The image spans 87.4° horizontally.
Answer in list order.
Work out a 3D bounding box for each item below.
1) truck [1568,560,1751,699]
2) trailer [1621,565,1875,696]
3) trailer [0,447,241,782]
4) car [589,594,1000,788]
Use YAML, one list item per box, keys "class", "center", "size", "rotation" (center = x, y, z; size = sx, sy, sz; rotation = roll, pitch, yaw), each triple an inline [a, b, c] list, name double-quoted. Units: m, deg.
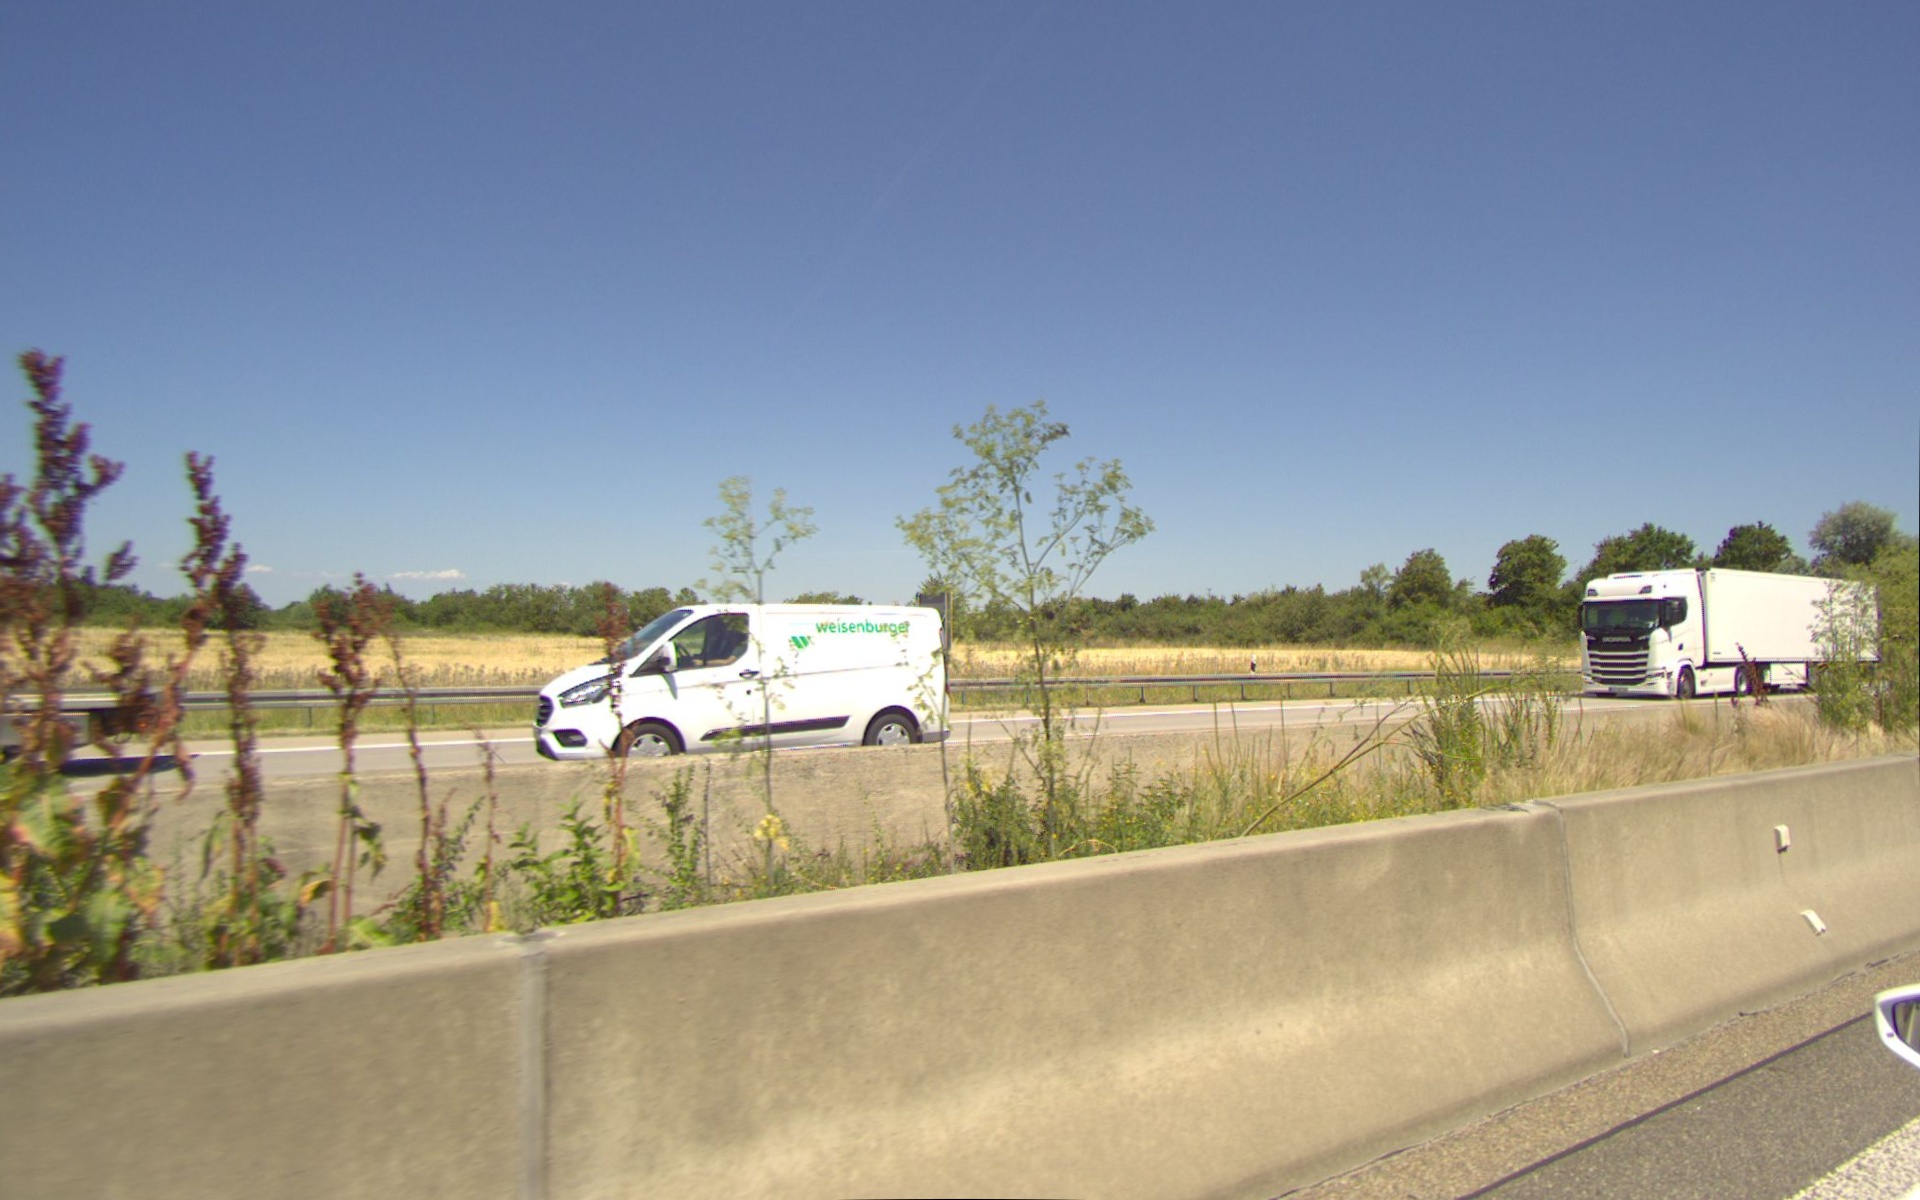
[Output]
- class: "truck"
  center: [22.399, 0.983, 32.116]
  size: [5.689, 4.067, 2.667]
  rotation: [1, -2, -31]
- class: "trailer"
  center: [28.221, 1.143, 35.635]
  size: [12.818, 4.067, 2.681]
  rotation: [2, -3, -31]
- class: "trailer"
  center: [-13.302, 0.157, 11.058]
  size: [8.436, 3.709, 2.640]
  rotation: [2, -3, -30]
- class: "car"
  center: [-1.973, 1.047, 12.454]
  size: [4.685, 2.013, 1.873]
  rotation: [2, -4, -31]
